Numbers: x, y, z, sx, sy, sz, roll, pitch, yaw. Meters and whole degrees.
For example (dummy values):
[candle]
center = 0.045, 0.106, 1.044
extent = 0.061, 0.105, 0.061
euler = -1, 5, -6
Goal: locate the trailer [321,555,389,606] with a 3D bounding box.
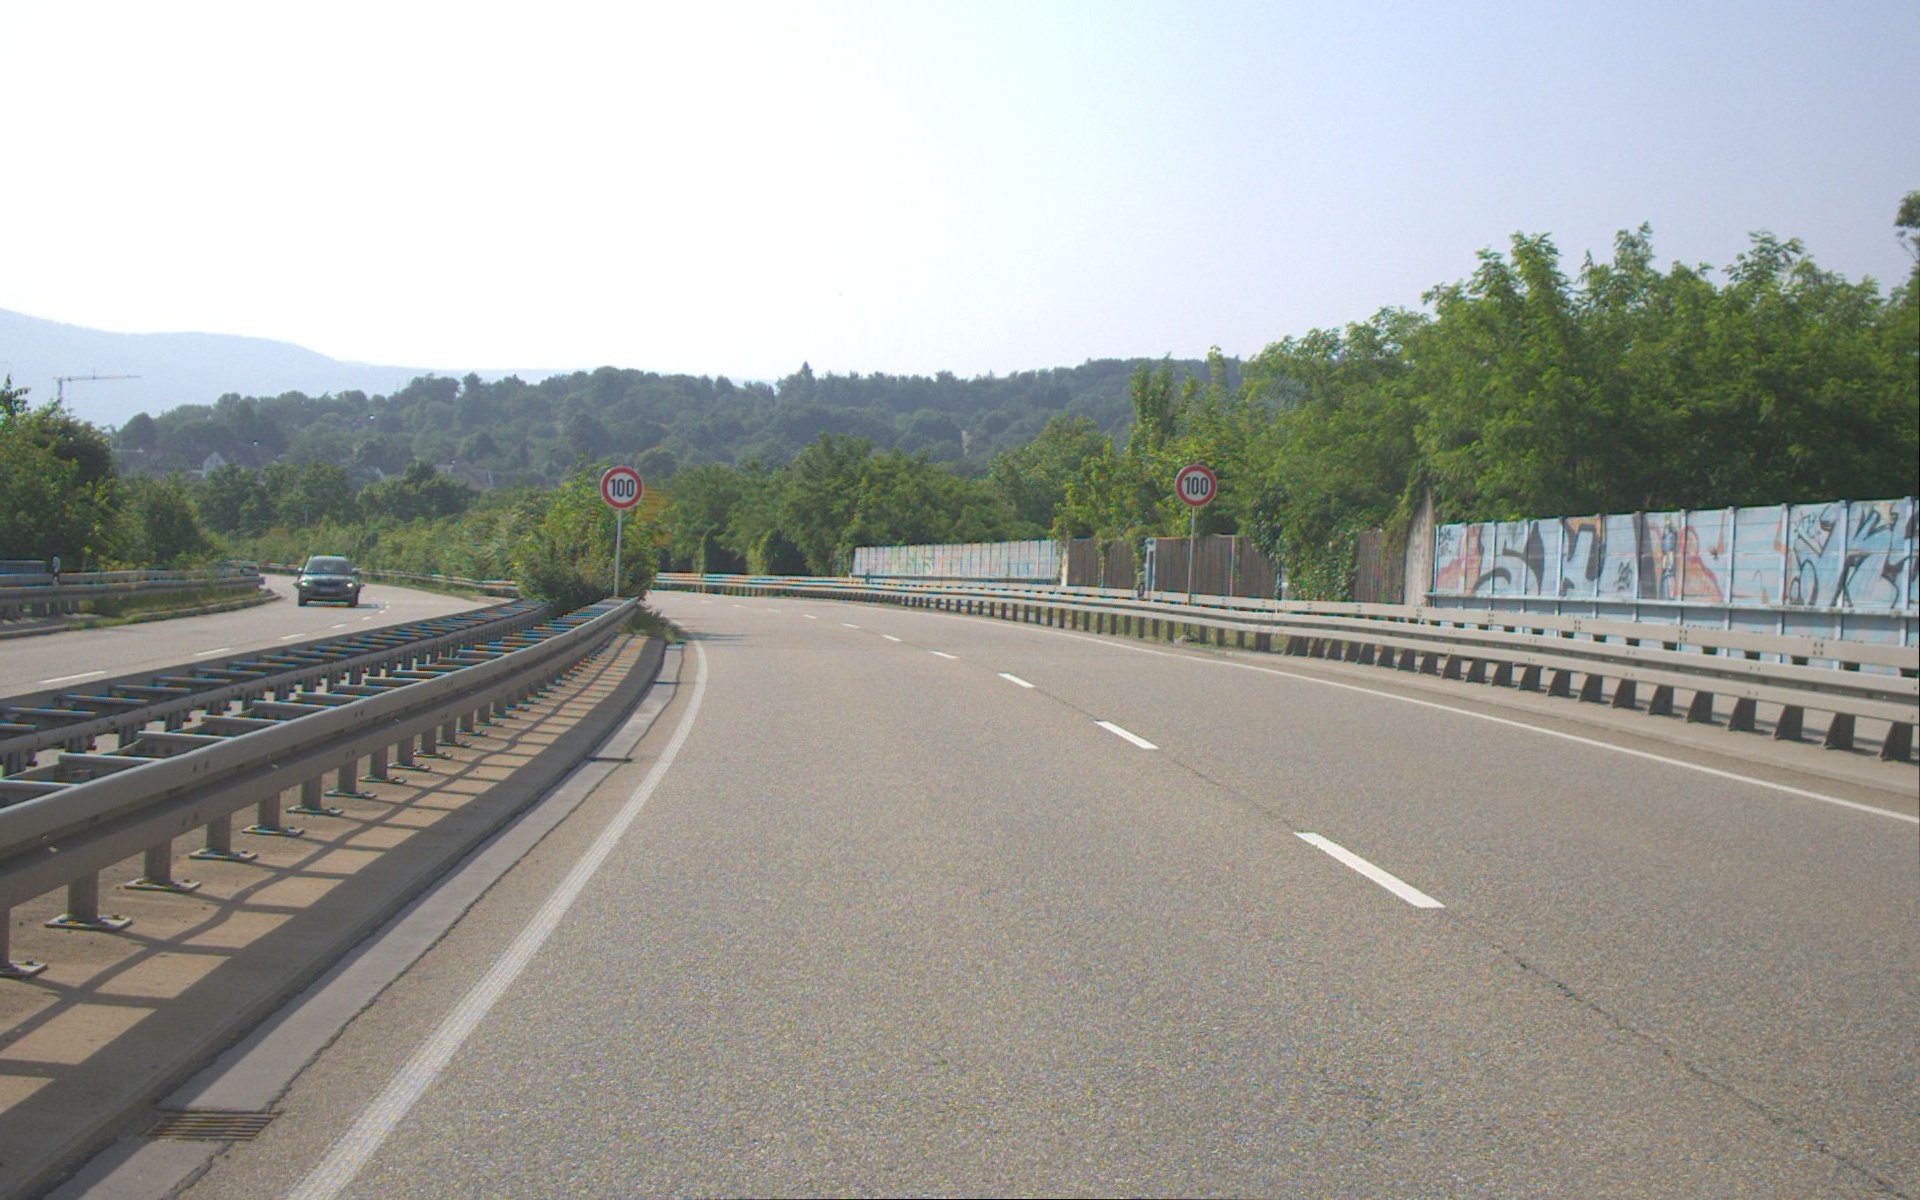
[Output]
[trailer]
center = -20.087, -0.660, 114.268
extent = 1.718, 1.573, 4.813
euler = 2, 0, -5

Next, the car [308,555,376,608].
[car]
center = -19.729, -0.605, 109.853
extent = 1.723, 1.591, 4.001
euler = 2, 0, -5
